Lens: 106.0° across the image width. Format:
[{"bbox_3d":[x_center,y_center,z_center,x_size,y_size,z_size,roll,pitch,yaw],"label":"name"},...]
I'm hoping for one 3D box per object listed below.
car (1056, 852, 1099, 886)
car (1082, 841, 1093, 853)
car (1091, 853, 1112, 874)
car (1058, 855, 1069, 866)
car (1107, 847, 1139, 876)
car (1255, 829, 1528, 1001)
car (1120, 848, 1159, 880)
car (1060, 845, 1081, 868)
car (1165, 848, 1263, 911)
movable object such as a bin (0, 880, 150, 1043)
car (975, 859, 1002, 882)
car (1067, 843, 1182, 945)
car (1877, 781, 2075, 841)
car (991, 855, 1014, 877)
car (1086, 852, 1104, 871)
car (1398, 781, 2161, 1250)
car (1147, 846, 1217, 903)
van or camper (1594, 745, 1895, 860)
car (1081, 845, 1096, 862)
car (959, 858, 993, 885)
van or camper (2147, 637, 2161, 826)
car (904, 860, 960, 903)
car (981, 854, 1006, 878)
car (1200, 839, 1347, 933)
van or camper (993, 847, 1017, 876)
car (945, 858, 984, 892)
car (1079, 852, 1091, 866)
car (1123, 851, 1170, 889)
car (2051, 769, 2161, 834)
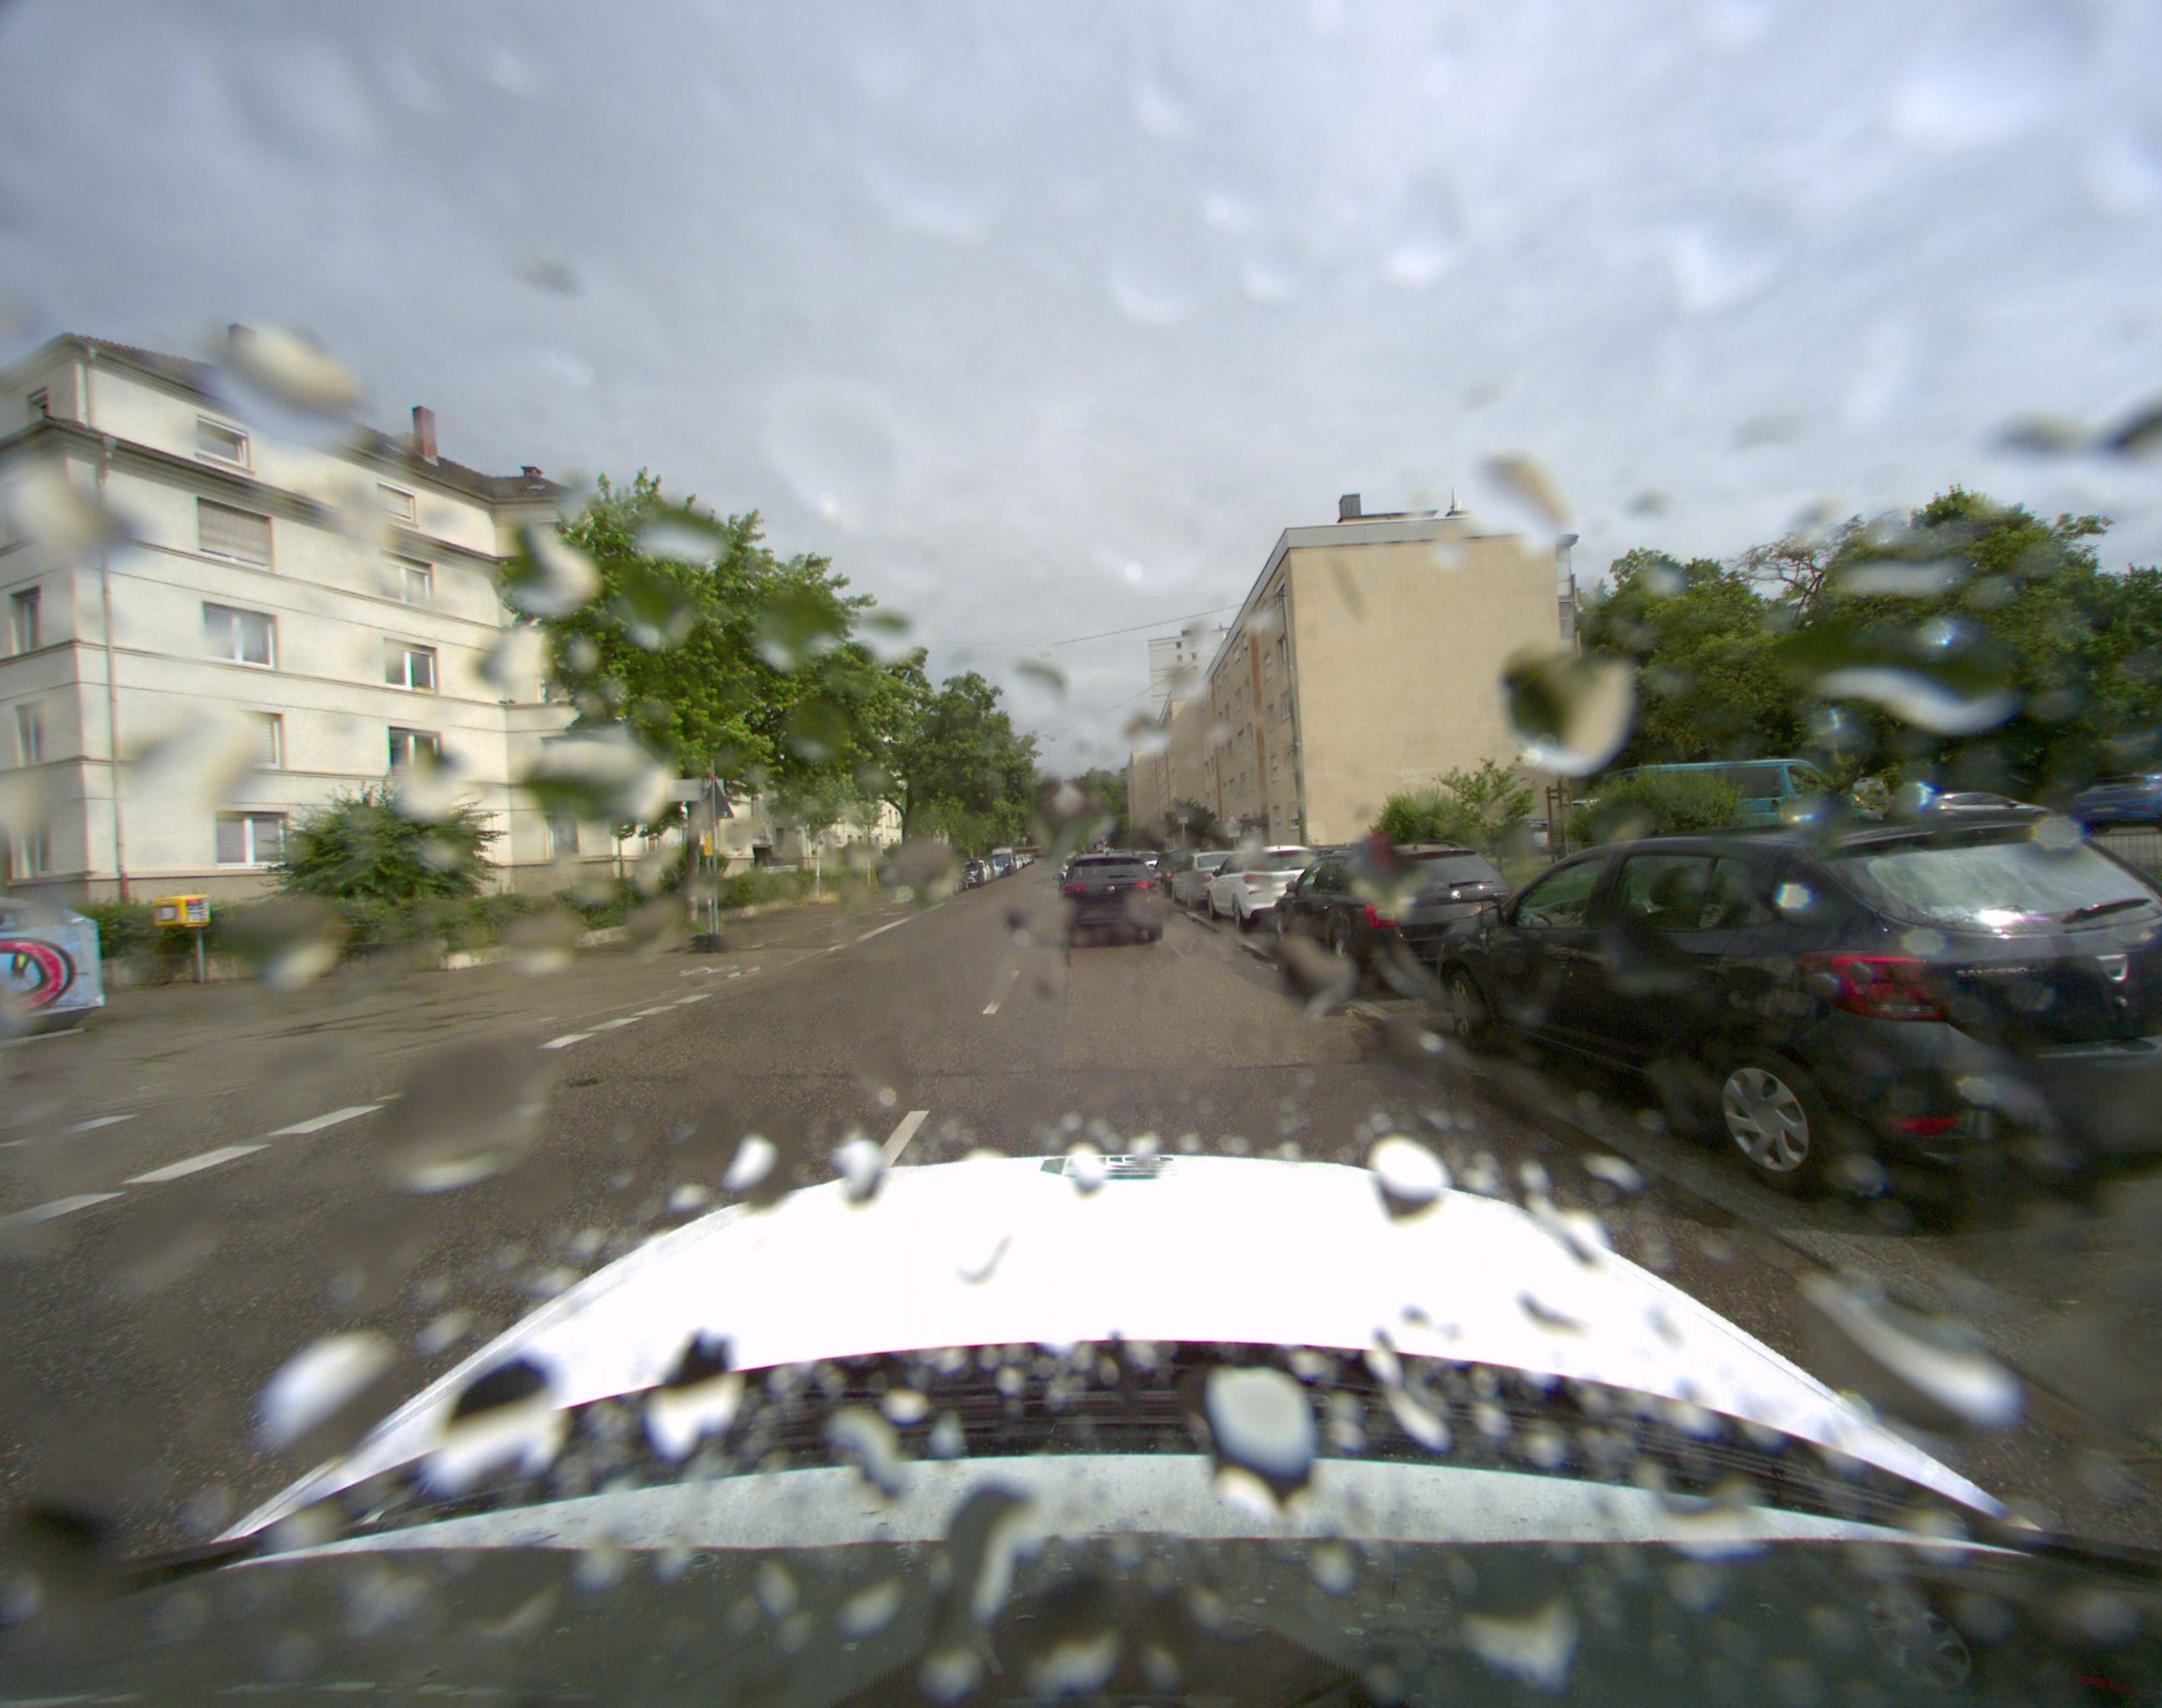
[{"bbox_3d":[-0.119,0.699,38.898,1.806,1.503,4.002,-1,-1,2],"label":"car"},{"bbox_3d":[1.064,-1.226,135.473,1.660,1.837,3.999,-4,0,0],"label":"car"},{"bbox_3d":[1.891,0.885,74.835,1.600,1.765,4.029,-4,0,-2],"label":"car"},{"bbox_3d":[-2.694,1.013,125.436,1.600,1.510,3.545,-5,0,-2],"label":"car"},{"bbox_3d":[2.592,0.453,51.228,1.600,1.672,4.029,-4,0,-2],"label":"car"},{"bbox_3d":[3.437,0.603,9.924,1.599,1.508,4.159,-5,-1,0],"label":"car"},{"bbox_3d":[3.081,0.507,43.643,1.600,1.505,4.029,-5,0,-2],"label":"car"},{"bbox_3d":[-0.988,0.291,78.392,1.830,2.103,4.000,-1,-1,1],"label":"car"},{"bbox_3d":[3.408,0.622,21.619,1.712,1.452,4.255,-2,0,-3],"label":"car"},{"bbox_3d":[-12.086,1.207,9.246,1.524,1.662,1.466,-4,1,21],"label":"movable object such as a bin"},{"bbox_3d":[-6.684,1.175,59.119,1.582,1.418,3.916,-5,0,-2],"label":"car"},{"bbox_3d":[0.790,0.654,15.560,1.866,1.645,4.064,-2,0,2],"label":"car"},{"bbox_3d":[27.801,-1.298,25.401,4.081,1.486,1.642,-4,0,5],"label":"car"},{"bbox_3d":[-6.661,1.007,69.291,1.582,1.639,3.916,-4,0,-2],"label":"car"},{"bbox_3d":[1.427,0.790,84.586,1.600,1.765,4.029,-4,0,-2],"label":"car"},{"bbox_3d":[3.619,0.546,4.848,1.752,1.527,3.998,-5,0,-1],"label":"car"},{"bbox_3d":[3.208,0.615,26.520,1.600,1.661,4.028,-2,0,-2],"label":"car"},{"bbox_3d":[14.723,-1.088,18.383,4.736,2.131,2.325,-3,0,5],"label":"van or camper"},{"bbox_3d":[0.850,-0.086,97.678,1.660,1.837,3.999,-4,0,0],"label":"car"},{"bbox_3d":[-6.259,1.044,48.822,1.582,1.418,3.916,-5,0,-2],"label":"car"},{"bbox_3d":[14.596,-1.303,8.028,4.977,2.554,2.176,-3,-1,3],"label":"van or camper"},{"bbox_3d":[-6.029,1.065,33.342,1.582,1.505,4.061,-4,0,-2],"label":"car"},{"bbox_3d":[-6.817,0.917,63.678,1.582,1.639,3.916,-4,0,-2],"label":"car"},{"bbox_3d":[3.590,0.578,15.965,1.744,1.508,4.108,-3,-1,-2],"label":"car"},{"bbox_3d":[-7.045,0.647,76.083,1.798,2.493,5.016,-4,0,-2],"label":"van or camper"},{"bbox_3d":[-6.216,1.092,43.727,1.582,1.576,4.010,-4,0,-2],"label":"car"},{"bbox_3d":[0.589,0.678,116.934,1.660,1.837,3.999,-4,0,0],"label":"car"},{"bbox_3d":[2.957,0.692,37.363,1.690,1.538,4.031,-5,0,-1],"label":"car"},{"bbox_3d":[27.300,-1.392,20.454,3.649,1.486,1.642,-4,0,5],"label":"car"}]
